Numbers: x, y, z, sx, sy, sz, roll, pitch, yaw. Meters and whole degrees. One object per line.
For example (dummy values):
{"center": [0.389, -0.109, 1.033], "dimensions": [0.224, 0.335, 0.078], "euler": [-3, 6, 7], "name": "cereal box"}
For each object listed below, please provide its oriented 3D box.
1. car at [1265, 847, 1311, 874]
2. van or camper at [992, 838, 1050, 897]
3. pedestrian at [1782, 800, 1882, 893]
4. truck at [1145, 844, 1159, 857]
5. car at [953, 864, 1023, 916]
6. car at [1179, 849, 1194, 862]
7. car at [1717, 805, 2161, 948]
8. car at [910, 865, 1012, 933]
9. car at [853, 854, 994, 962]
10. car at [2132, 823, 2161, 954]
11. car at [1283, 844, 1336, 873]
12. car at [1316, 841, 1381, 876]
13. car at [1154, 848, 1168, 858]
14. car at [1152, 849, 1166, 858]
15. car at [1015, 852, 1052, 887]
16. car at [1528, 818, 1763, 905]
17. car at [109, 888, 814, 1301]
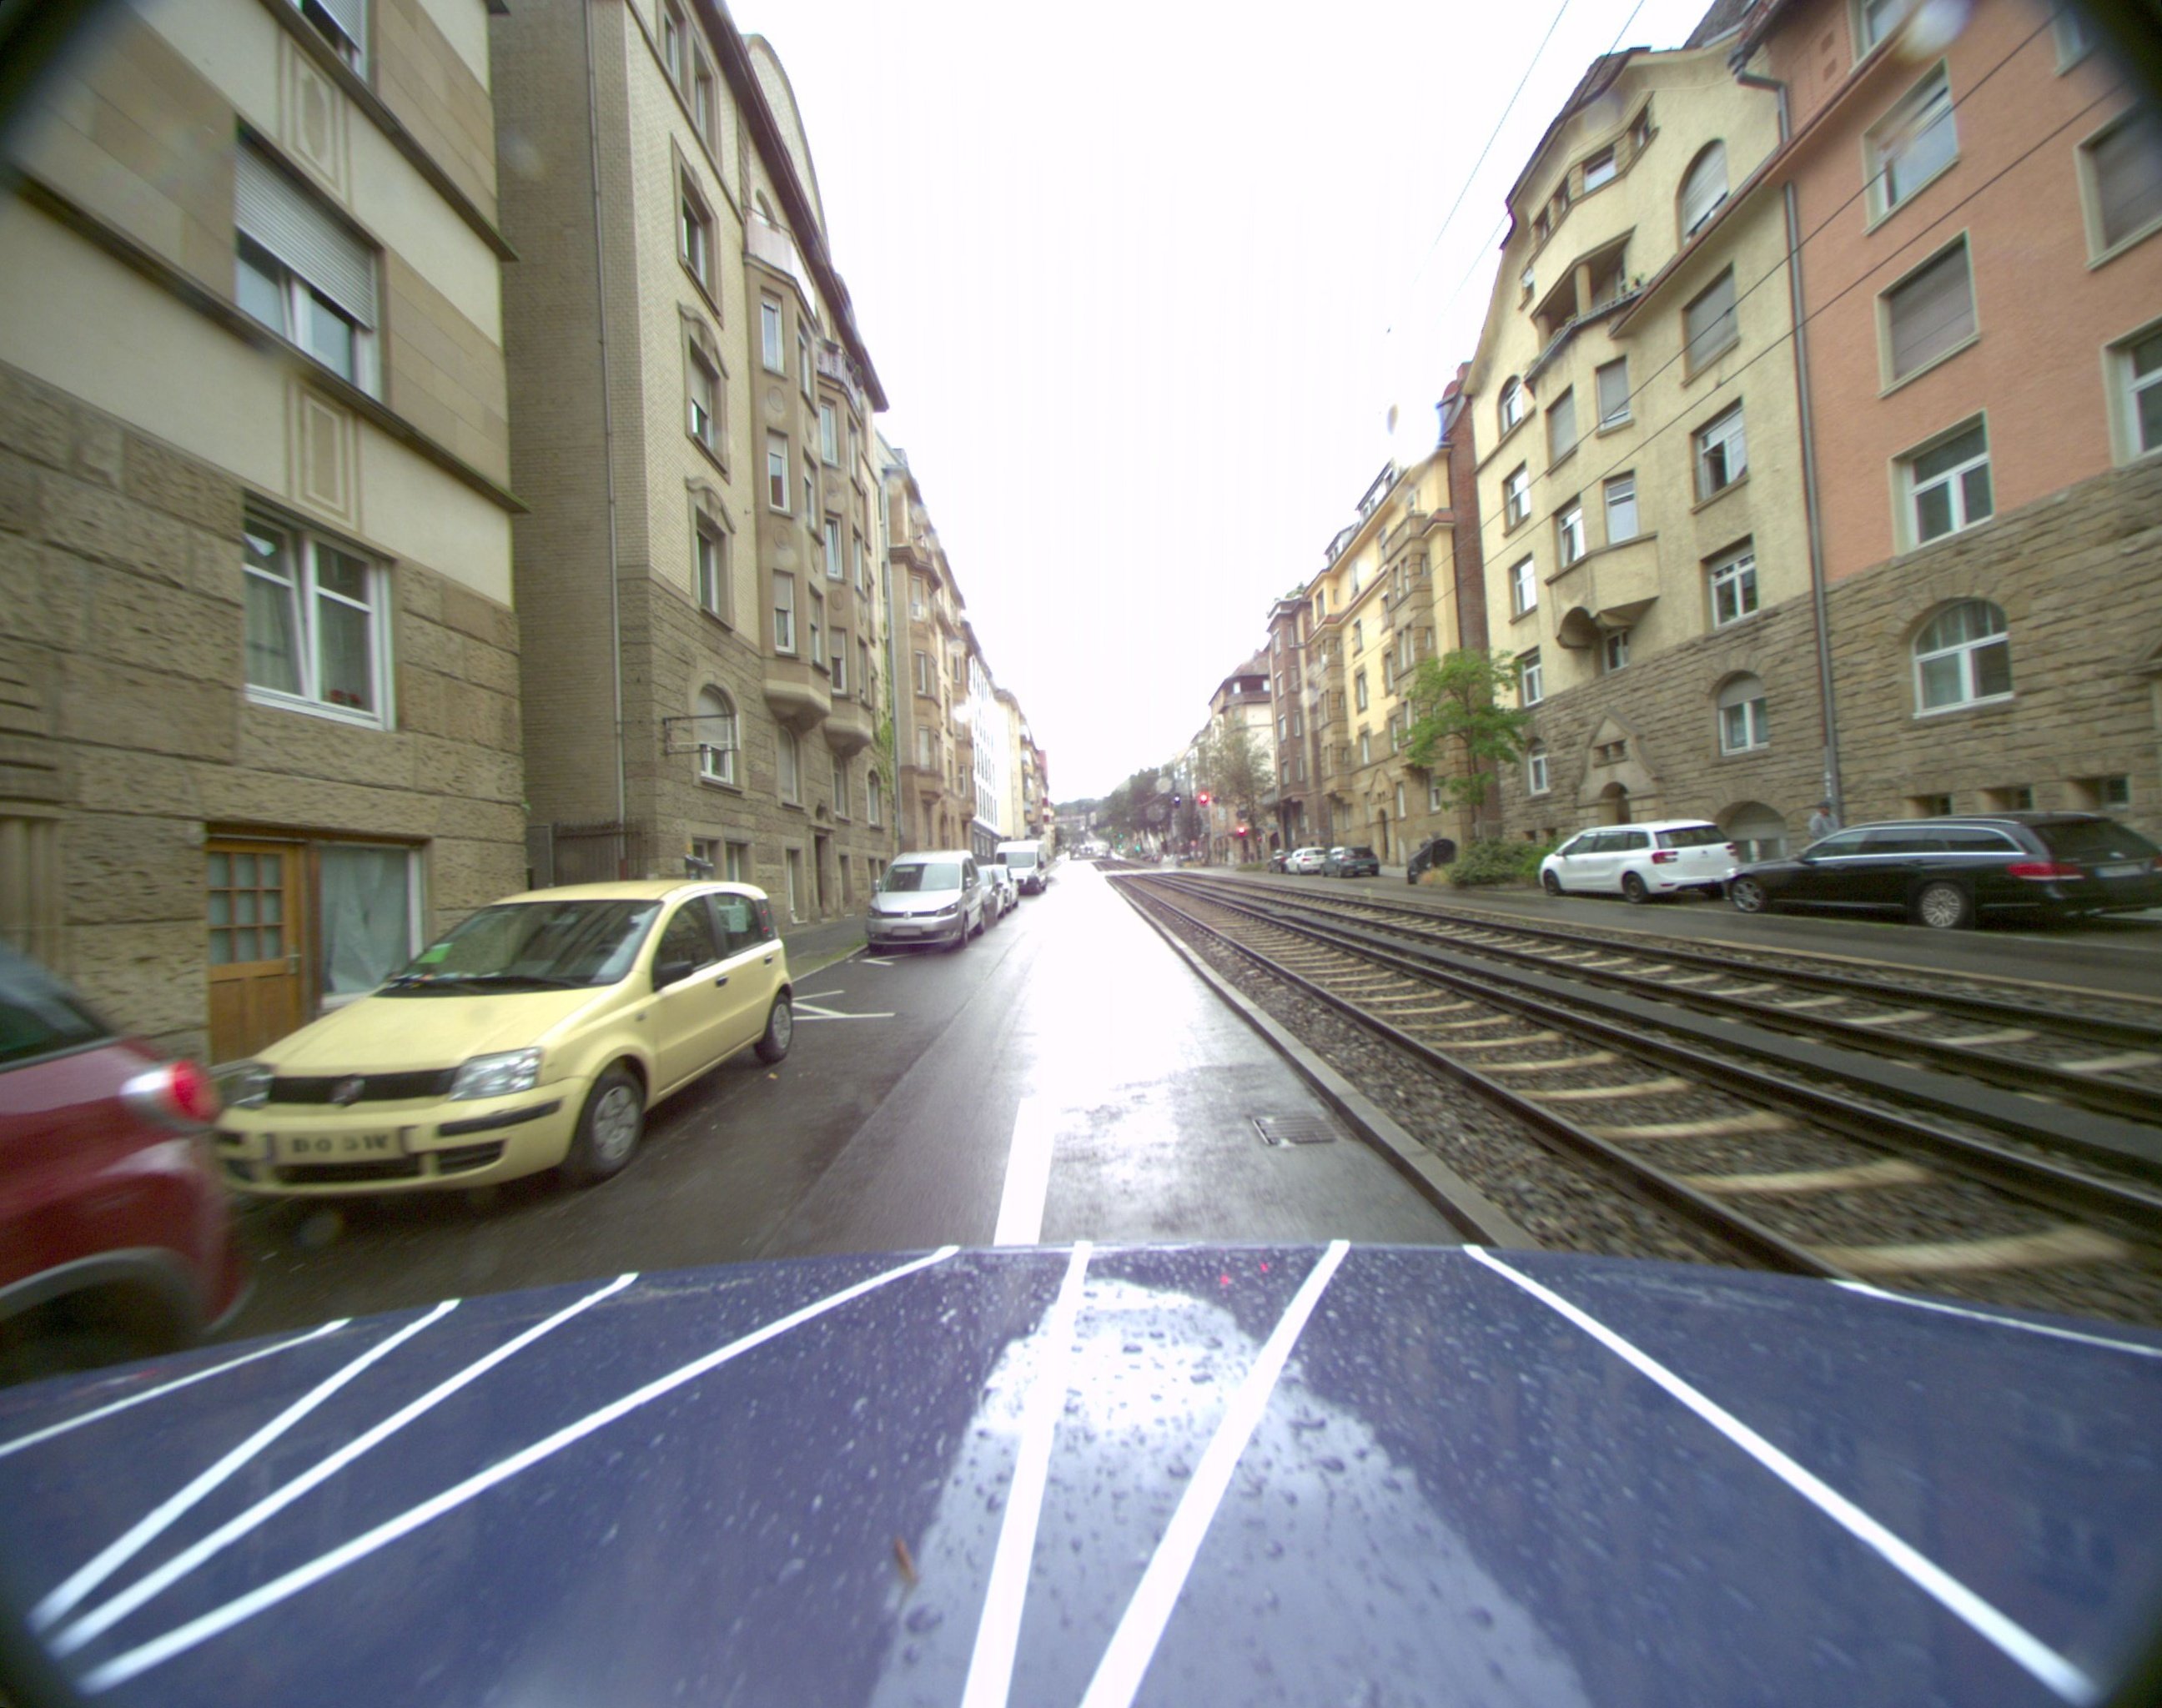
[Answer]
{"center": [12.727, 0.370, 46.933], "dimensions": [1.769, 1.477, 4.000], "euler": [-3, 1, 1], "name": "car"}
{"center": [-2.688, 0.541, 35.692], "dimensions": [2.069, 2.455, 6.118], "euler": [-2, 1, 1], "name": "van or camper"}
{"center": [14.911, -0.137, 15.115], "dimensions": [1.010, 1.743, 0.924], "euler": [-3, 0, -2], "name": "pedestrian"}
{"center": [13.398, -0.707, 144.028], "dimensions": [2.197, 2.332, 6.351], "euler": [-2, 2, 2], "name": "truck"}
{"center": [-2.865, 1.072, 24.207], "dimensions": [1.680, 1.403, 4.000], "euler": [-3, 0, 0], "name": "car"}
{"center": [13.580, 0.160, 97.971], "dimensions": [1.811, 1.489, 3.527], "euler": [-3, 0, 6], "name": "car"}
{"center": [12.318, 0.227, 11.024], "dimensions": [1.998, 1.500, 4.974], "euler": [-5, 0, 1], "name": "car"}
{"center": [-2.999, 1.071, 19.793], "dimensions": [1.999, 1.433, 3.999], "euler": [-2, 1, 0], "name": "car"}
{"center": [-2.912, 0.924, 15.025], "dimensions": [1.779, 1.766, 4.360], "euler": [-2, 0, 1], "name": "car"}
{"center": [12.367, 0.316, 6.365], "dimensions": [1.646, 1.390, 3.883], "euler": [-3, 0, -2], "name": "car"}
{"center": [12.487, 0.212, 41.733], "dimensions": [1.671, 1.417, 4.263], "euler": [-3, 0, 2], "name": "car"}
{"center": [12.475, 0.168, 35.720], "dimensions": [1.565, 1.429, 4.145], "euler": [-4, 0, 1], "name": "car"}
{"center": [12.942, -0.195, 122.808], "dimensions": [1.780, 1.560, 4.158], "euler": [-3, 1, 1], "name": "car"}
{"center": [13.282, -0.060, 130.012], "dimensions": [1.911, 1.432, 4.468], "euler": [-3, 1, -1], "name": "car"}
{"center": [-2.706, 0.860, 44.188], "dimensions": [1.773, 1.797, 4.482], "euler": [-3, 0, 1], "name": "car"}
{"center": [12.197, 0.154, 16.858], "dimensions": [1.789, 1.580, 4.350], "euler": [-3, 0, -2], "name": "car"}
{"center": [-3.173, 1.079, 4.876], "dimensions": [1.563, 1.469, 3.461], "euler": [-4, 0, 1], "name": "car"}
